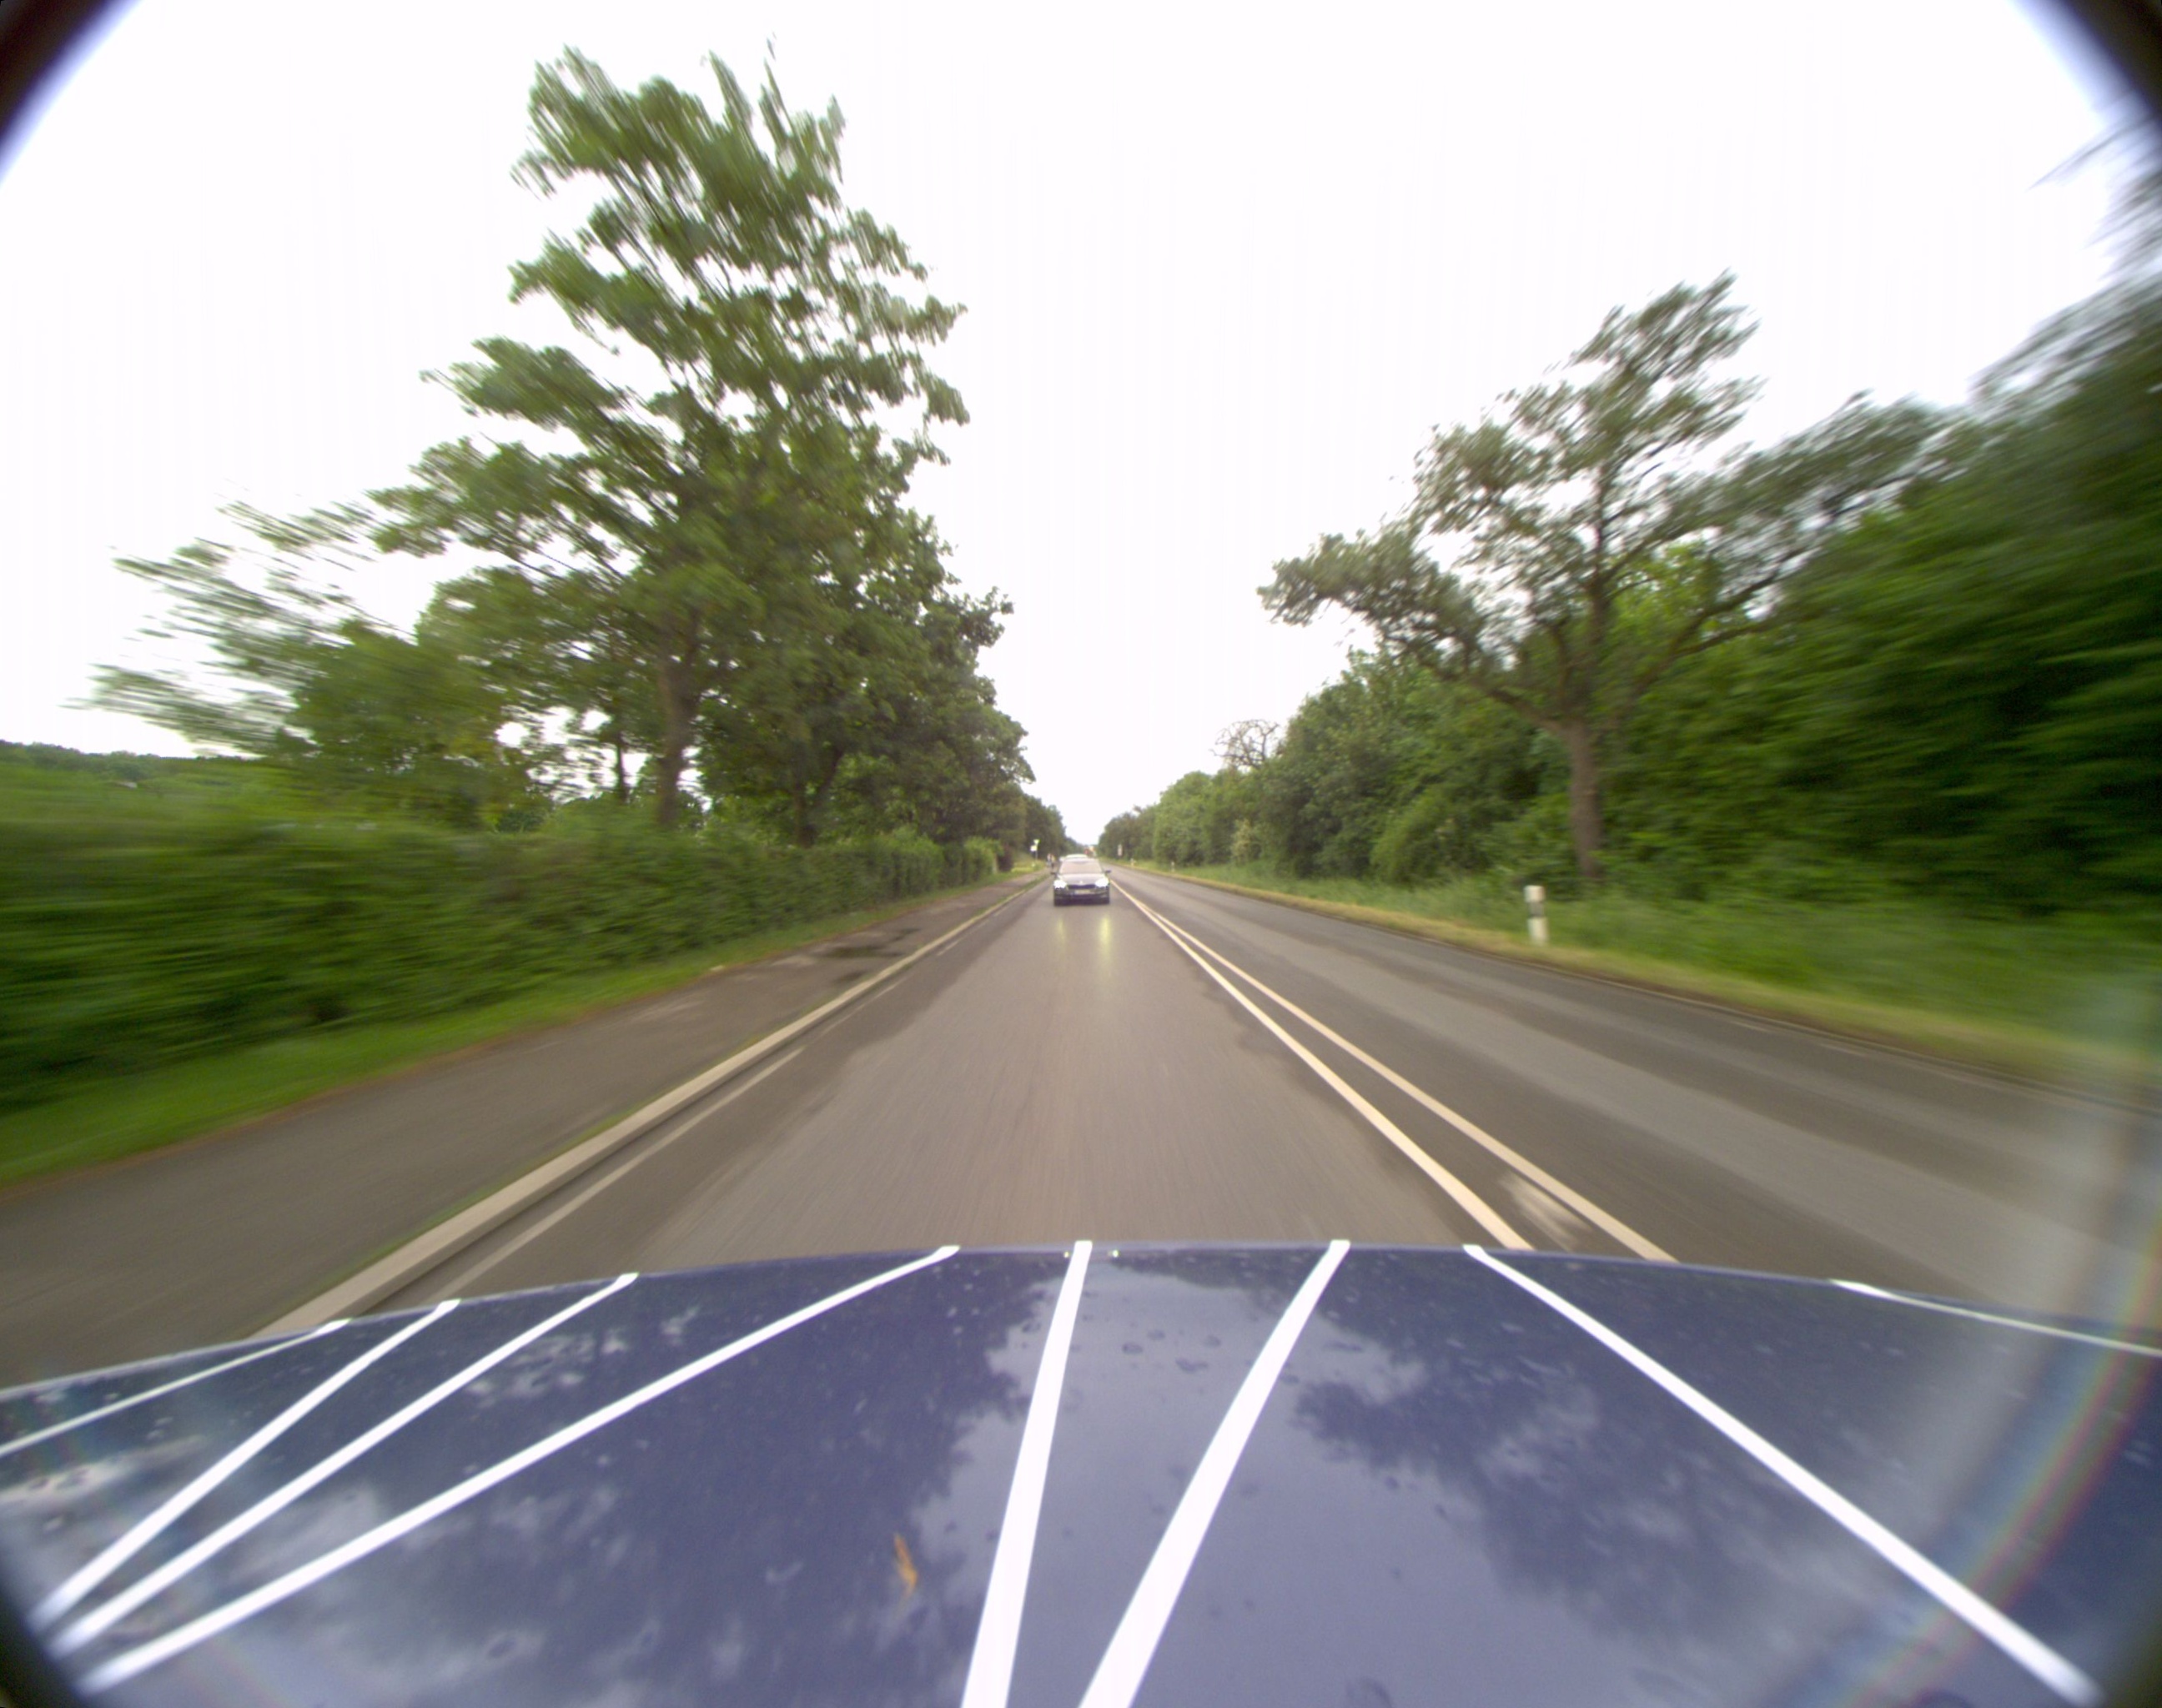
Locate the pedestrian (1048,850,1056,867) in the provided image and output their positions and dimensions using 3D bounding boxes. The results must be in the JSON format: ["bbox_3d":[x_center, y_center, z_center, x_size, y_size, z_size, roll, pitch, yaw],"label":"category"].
[{"bbox_3d":[-3.225,0.481,83.607,0.696,1.817,0.800,-1,1,-17],"label":"pedestrian"}]

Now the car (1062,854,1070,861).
[{"bbox_3d":[-3.578,0.808,182.599,1.749,1.460,4.220,0,1,0],"label":"car"}]

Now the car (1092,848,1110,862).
[{"bbox_3d":[2.322,0.136,88.986,1.887,1.543,3.475,-3,1,0],"label":"car"}]

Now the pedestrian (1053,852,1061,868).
[{"bbox_3d":[-2.685,0.656,84.556,0.663,1.768,0.759,-1,1,-17],"label":"pedestrian"}]

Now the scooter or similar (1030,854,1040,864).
[{"bbox_3d":[-5.693,0.583,93.325,1.324,1.199,0.375,0,1,41],"label":"scooter or similar"}]

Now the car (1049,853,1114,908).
[{"bbox_3d":[0.018,0.814,25.321,1.915,1.543,4.354,-3,1,0],"label":"car"}]

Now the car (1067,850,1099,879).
[{"bbox_3d":[0.123,0.644,49.805,1.915,1.690,3.913,-3,1,0],"label":"car"}]
